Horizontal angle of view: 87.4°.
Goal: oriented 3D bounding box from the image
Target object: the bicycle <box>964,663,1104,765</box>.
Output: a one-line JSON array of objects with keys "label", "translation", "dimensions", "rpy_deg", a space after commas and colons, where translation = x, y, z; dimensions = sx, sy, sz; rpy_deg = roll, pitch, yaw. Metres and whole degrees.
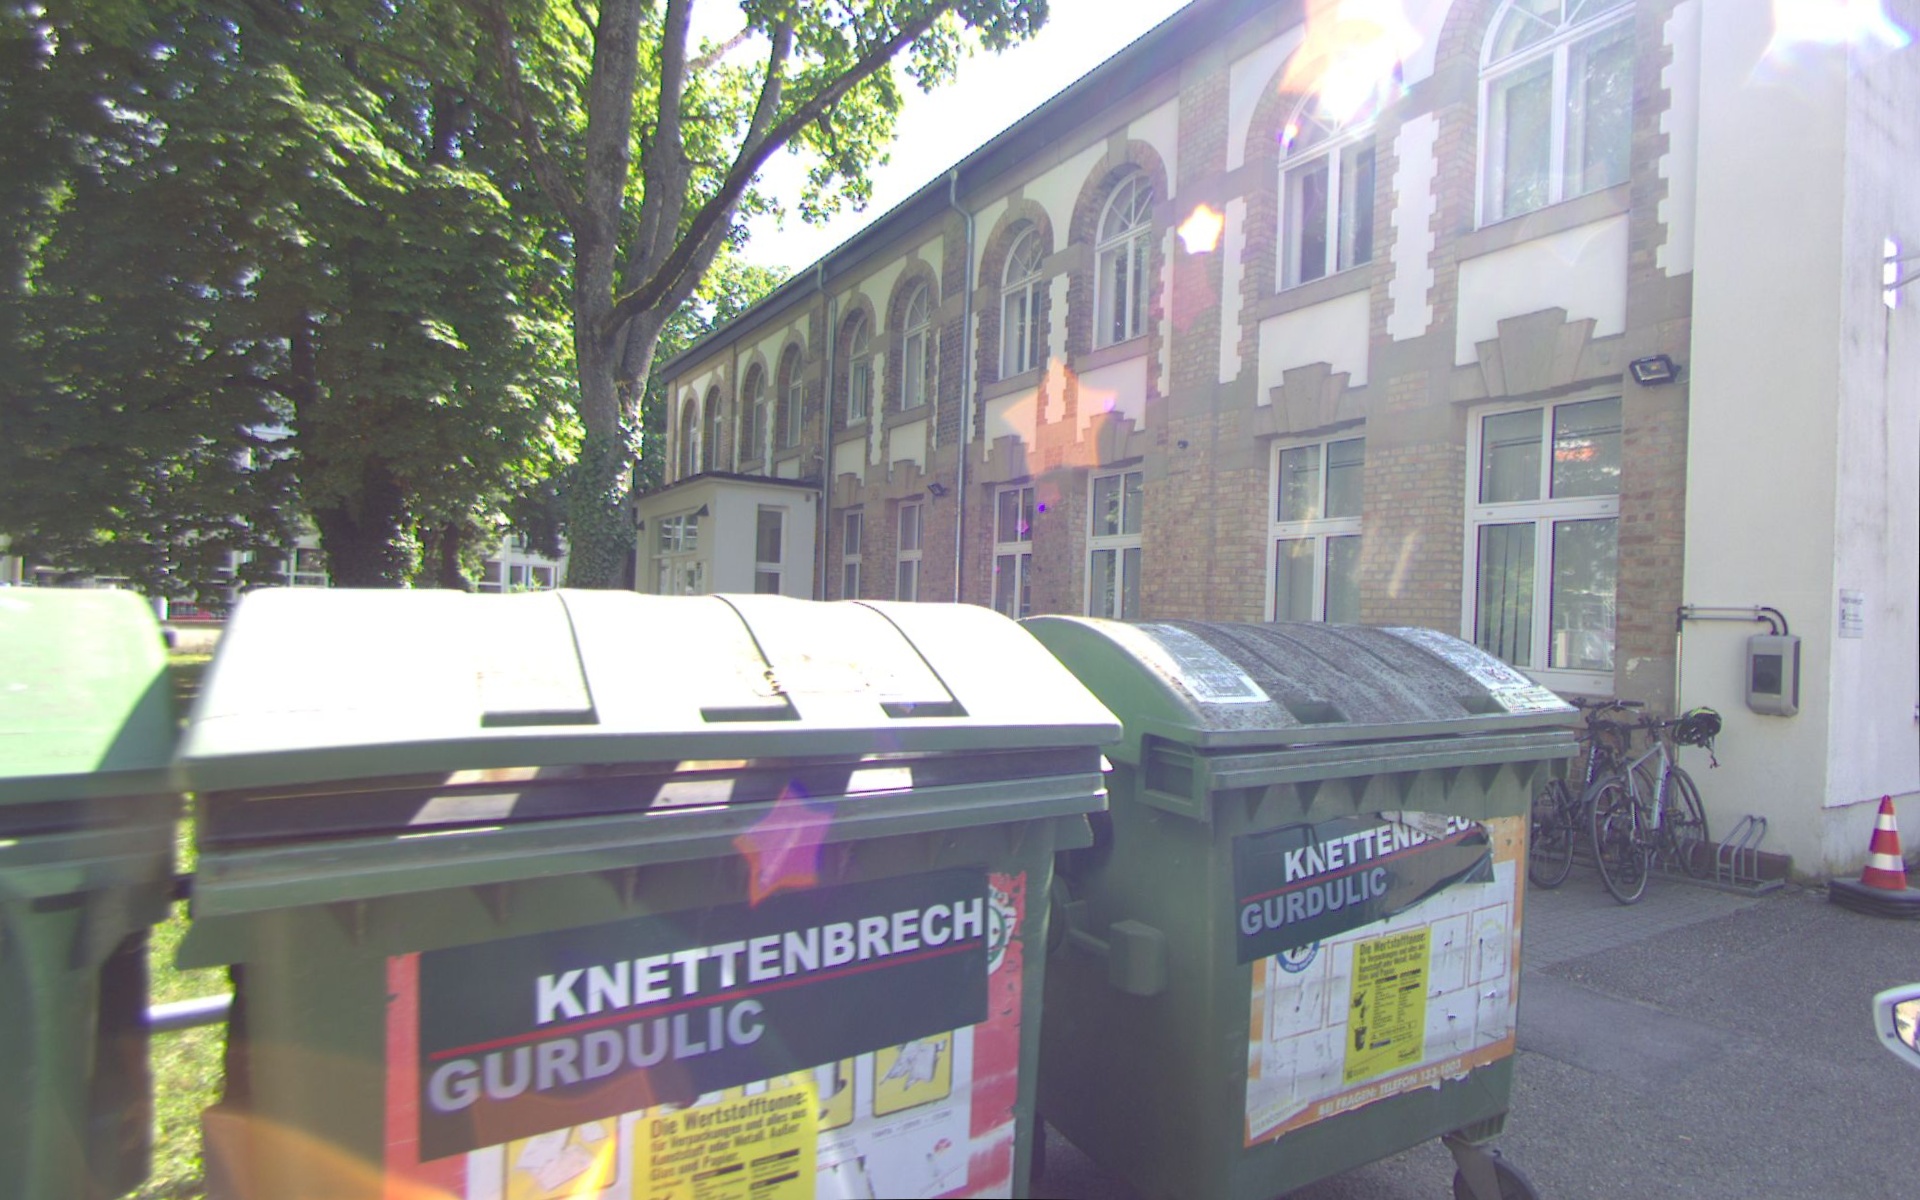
[{"label": "bicycle", "translation": [0.808, 1.196, 10.776], "dimensions": [1.523, 1.005, 0.442], "rpy_deg": [2, -1, -31]}]

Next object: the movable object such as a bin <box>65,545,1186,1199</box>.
[{"label": "movable object such as a bin", "translation": [-0.551, 0.702, 1.762], "dimensions": [1.352, 1.450, 1.237], "rpy_deg": [2, -1, -33]}]

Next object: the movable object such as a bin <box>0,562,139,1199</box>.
[{"label": "movable object such as a bin", "translation": [-1.733, 0.665, 1.065], "dimensions": [1.215, 1.450, 1.232], "rpy_deg": [3, -1, -44]}]

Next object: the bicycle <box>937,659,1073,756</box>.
[{"label": "bicycle", "translation": [0.517, 1.179, 11.242], "dimensions": [1.523, 1.005, 0.442], "rpy_deg": [2, -1, -31]}]

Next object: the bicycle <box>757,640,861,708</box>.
[{"label": "bicycle", "translation": [-2.316, 1.129, 15.499], "dimensions": [1.523, 1.005, 0.442], "rpy_deg": [2, -1, -31]}]

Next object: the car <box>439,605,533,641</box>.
[{"label": "car", "translation": [-23.881, 1.156, 50.723], "dimensions": [3.931, 1.684, 1.825], "rpy_deg": [2, -1, -13]}]

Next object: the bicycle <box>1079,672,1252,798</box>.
[{"label": "bicycle", "translation": [1.866, 1.173, 9.009], "dimensions": [1.647, 1.005, 0.442], "rpy_deg": [2, -1, -31]}]

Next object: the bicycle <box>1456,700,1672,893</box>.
[{"label": "bicycle", "translation": [3.783, 1.164, 6.252], "dimensions": [1.611, 1.005, 0.442], "rpy_deg": [2, -1, -31]}]

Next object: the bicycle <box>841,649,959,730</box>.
[{"label": "bicycle", "translation": [-0.777, 1.155, 13.221], "dimensions": [1.524, 1.005, 0.442], "rpy_deg": [2, -1, -32]}]

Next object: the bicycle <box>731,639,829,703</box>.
[{"label": "bicycle", "translation": [-2.967, 1.172, 16.636], "dimensions": [1.526, 1.005, 0.441], "rpy_deg": [3, 0, -35]}]

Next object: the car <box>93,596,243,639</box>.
[{"label": "car", "translation": [-30.529, 0.686, 38.849], "dimensions": [4.151, 1.559, 1.777], "rpy_deg": [1, -1, -17]}]

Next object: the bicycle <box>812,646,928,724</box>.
[{"label": "bicycle", "translation": [-1.217, 1.137, 13.734], "dimensions": [1.523, 1.005, 0.442], "rpy_deg": [2, -1, -31]}]

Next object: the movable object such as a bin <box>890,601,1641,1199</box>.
[{"label": "movable object such as a bin", "translation": [0.722, 0.752, 2.546], "dimensions": [1.336, 1.450, 1.237], "rpy_deg": [2, -1, -33]}]

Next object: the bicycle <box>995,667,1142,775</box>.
[{"label": "bicycle", "translation": [1.124, 1.206, 10.270], "dimensions": [1.523, 1.005, 0.442], "rpy_deg": [2, -1, -31]}]

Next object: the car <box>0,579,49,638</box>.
[{"label": "car", "translation": [-33.172, 0.252, 33.316], "dimensions": [3.935, 1.932, 1.781], "rpy_deg": [1, -1, -17]}]

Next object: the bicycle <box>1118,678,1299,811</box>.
[{"label": "bicycle", "translation": [2.148, 1.198, 8.597], "dimensions": [1.666, 1.005, 0.442], "rpy_deg": [2, -1, -31]}]

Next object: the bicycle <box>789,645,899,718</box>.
[{"label": "bicycle", "translation": [-1.675, 1.165, 14.602], "dimensions": [1.523, 1.005, 0.442], "rpy_deg": [2, -1, -31]}]

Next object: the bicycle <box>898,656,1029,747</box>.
[{"label": "bicycle", "translation": [0.053, 1.169, 11.827], "dimensions": [1.523, 1.005, 0.442], "rpy_deg": [2, -1, -31]}]

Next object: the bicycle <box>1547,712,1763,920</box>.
[{"label": "bicycle", "translation": [4.083, 1.203, 5.870], "dimensions": [1.523, 1.005, 0.442], "rpy_deg": [2, -1, -31]}]

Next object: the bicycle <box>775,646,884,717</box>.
[{"label": "bicycle", "translation": [-1.933, 1.204, 15.006], "dimensions": [1.581, 1.002, 0.371], "rpy_deg": [2, -1, -31]}]
